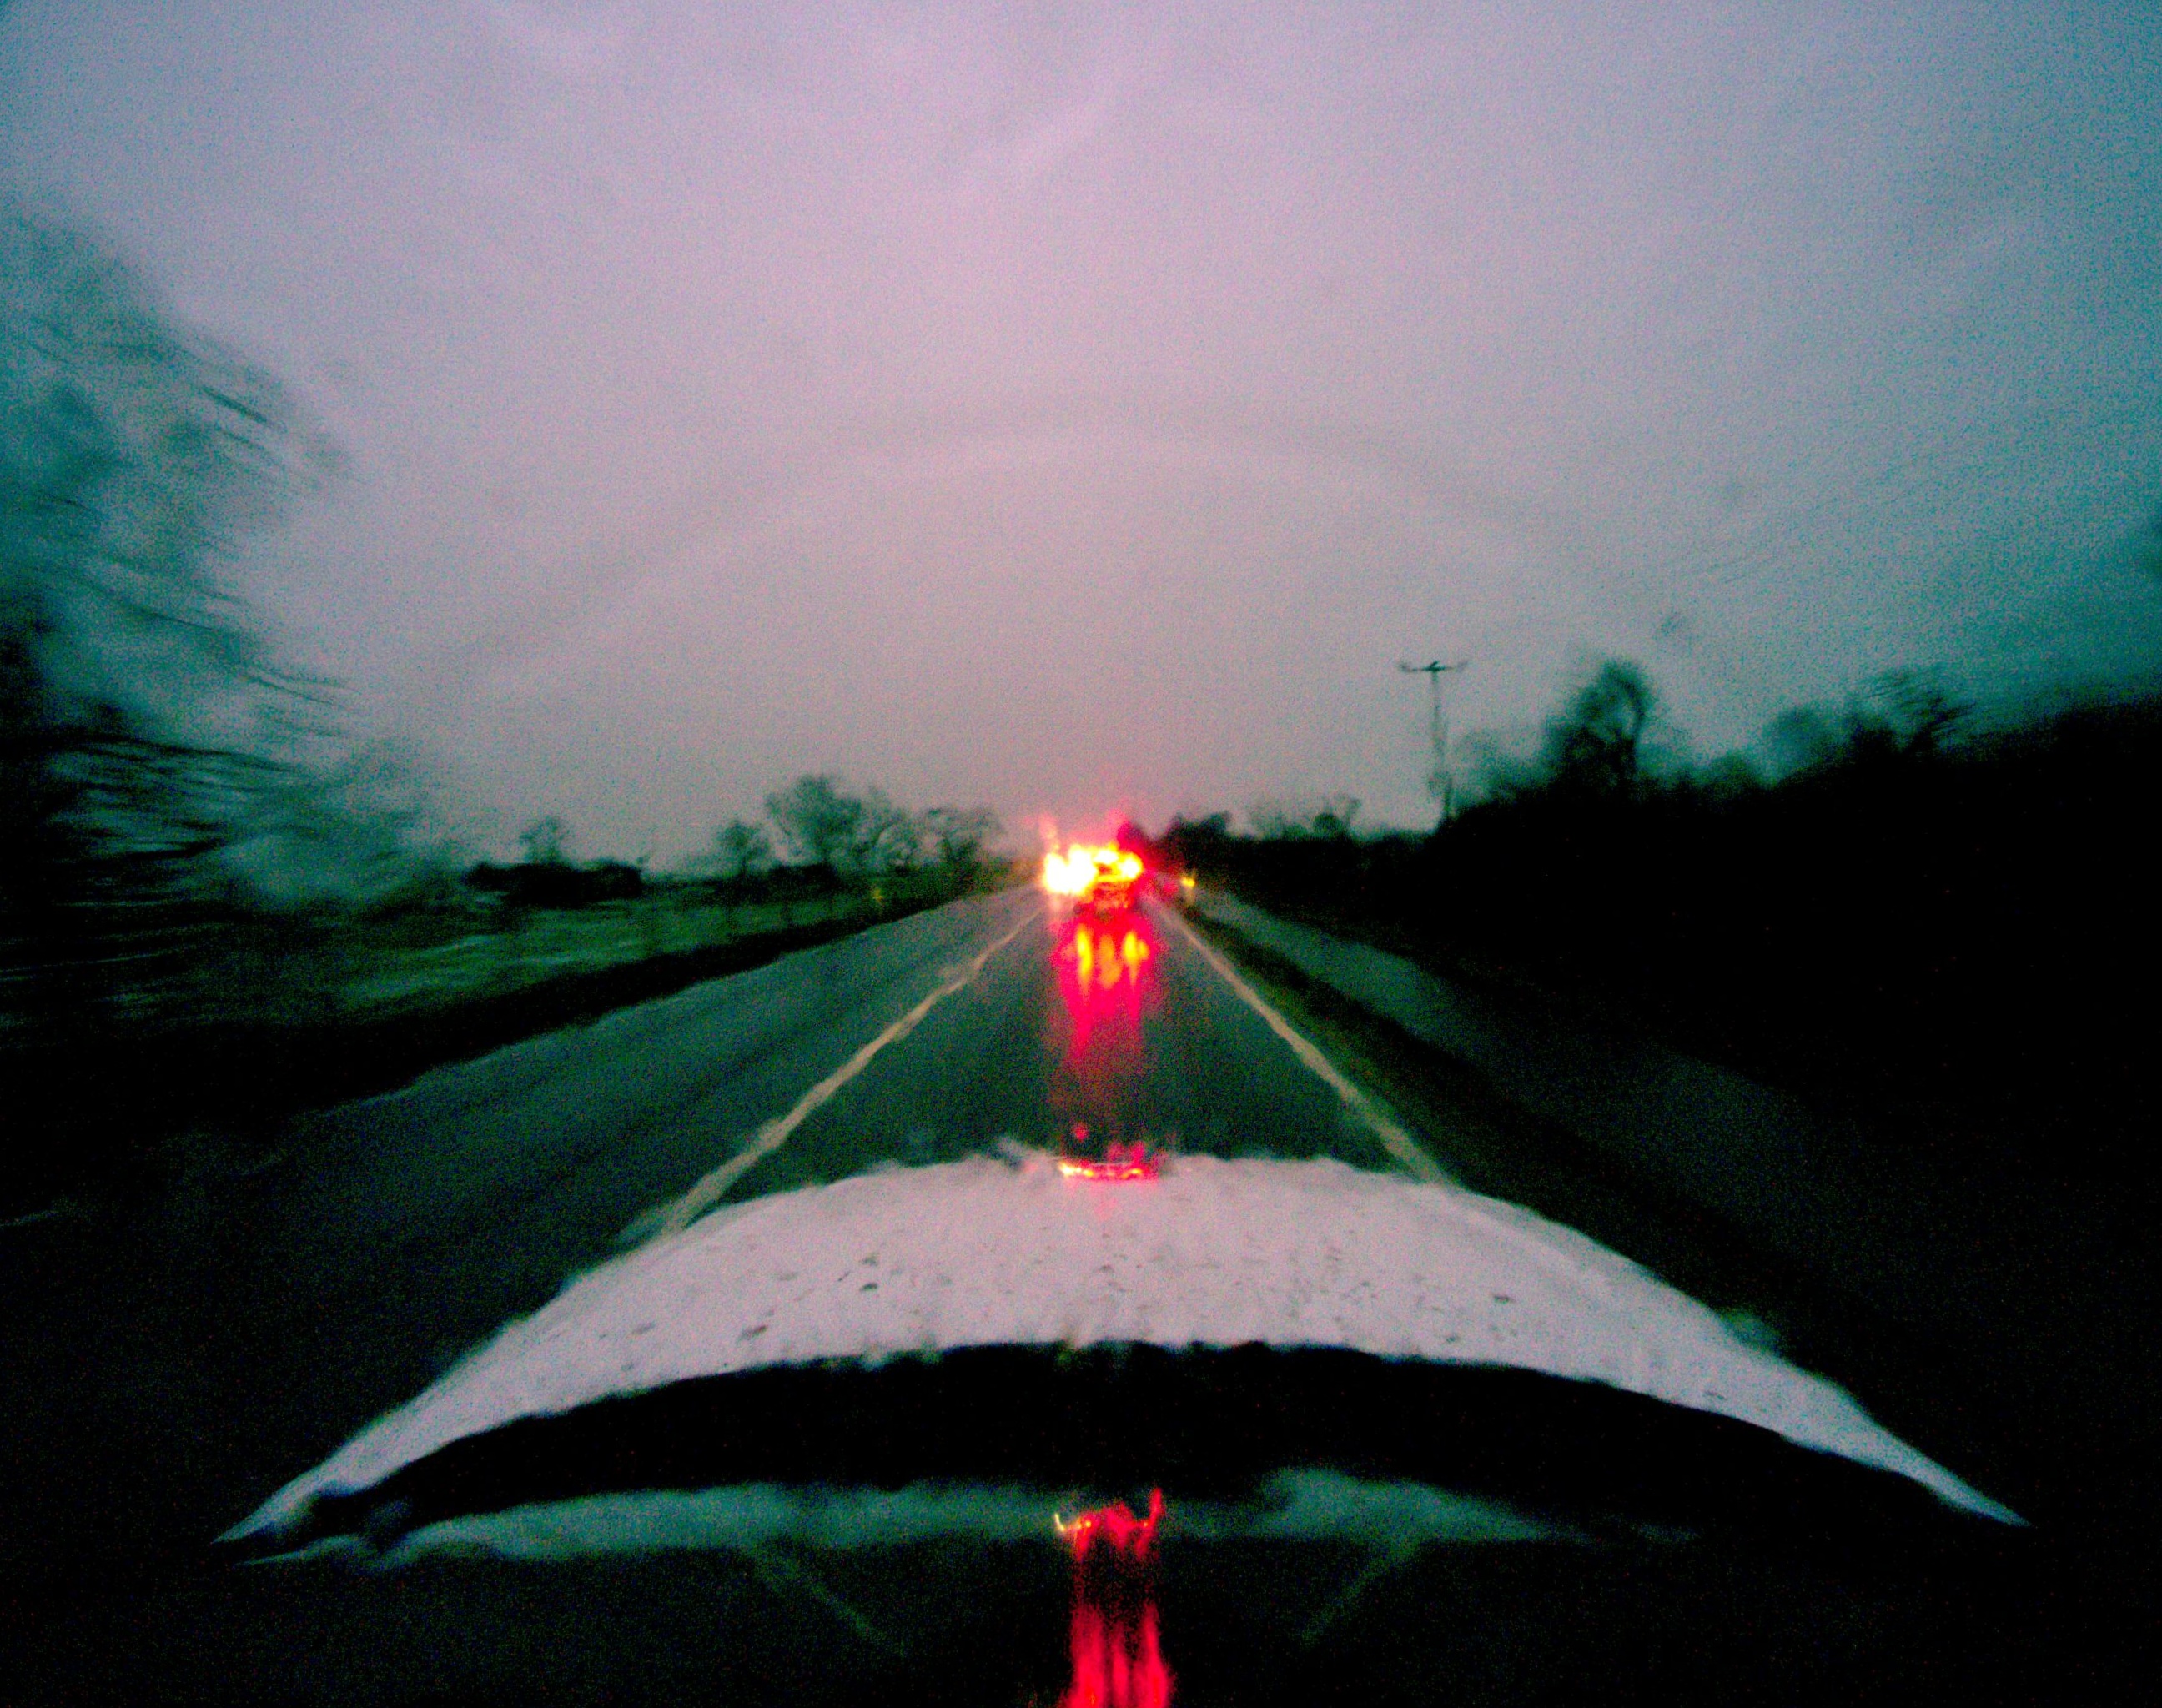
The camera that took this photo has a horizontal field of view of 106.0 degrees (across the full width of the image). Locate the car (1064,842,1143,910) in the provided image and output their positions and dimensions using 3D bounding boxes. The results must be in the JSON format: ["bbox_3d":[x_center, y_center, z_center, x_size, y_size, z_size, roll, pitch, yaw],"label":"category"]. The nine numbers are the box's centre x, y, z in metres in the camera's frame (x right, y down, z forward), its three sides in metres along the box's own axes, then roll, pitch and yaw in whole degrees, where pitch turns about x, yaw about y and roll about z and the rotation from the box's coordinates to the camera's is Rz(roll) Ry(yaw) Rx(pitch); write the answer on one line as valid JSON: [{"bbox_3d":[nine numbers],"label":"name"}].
[{"bbox_3d":[0.702,0.590,24.539,2.112,1.820,4.982,-1,0,2],"label":"car"}]

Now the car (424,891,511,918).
[{"bbox_3d":[-33.500,2.730,44.546,3.444,1.342,1.592,0,0,-13],"label":"car"}]

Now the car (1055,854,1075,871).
[{"bbox_3d":[-1.513,0.805,78.784,1.849,1.517,4.514,-3,0,-1],"label":"car"}]

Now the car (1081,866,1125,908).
[{"bbox_3d":[1.077,1.535,39.370,1.986,1.849,4.002,0,0,2],"label":"car"}]
